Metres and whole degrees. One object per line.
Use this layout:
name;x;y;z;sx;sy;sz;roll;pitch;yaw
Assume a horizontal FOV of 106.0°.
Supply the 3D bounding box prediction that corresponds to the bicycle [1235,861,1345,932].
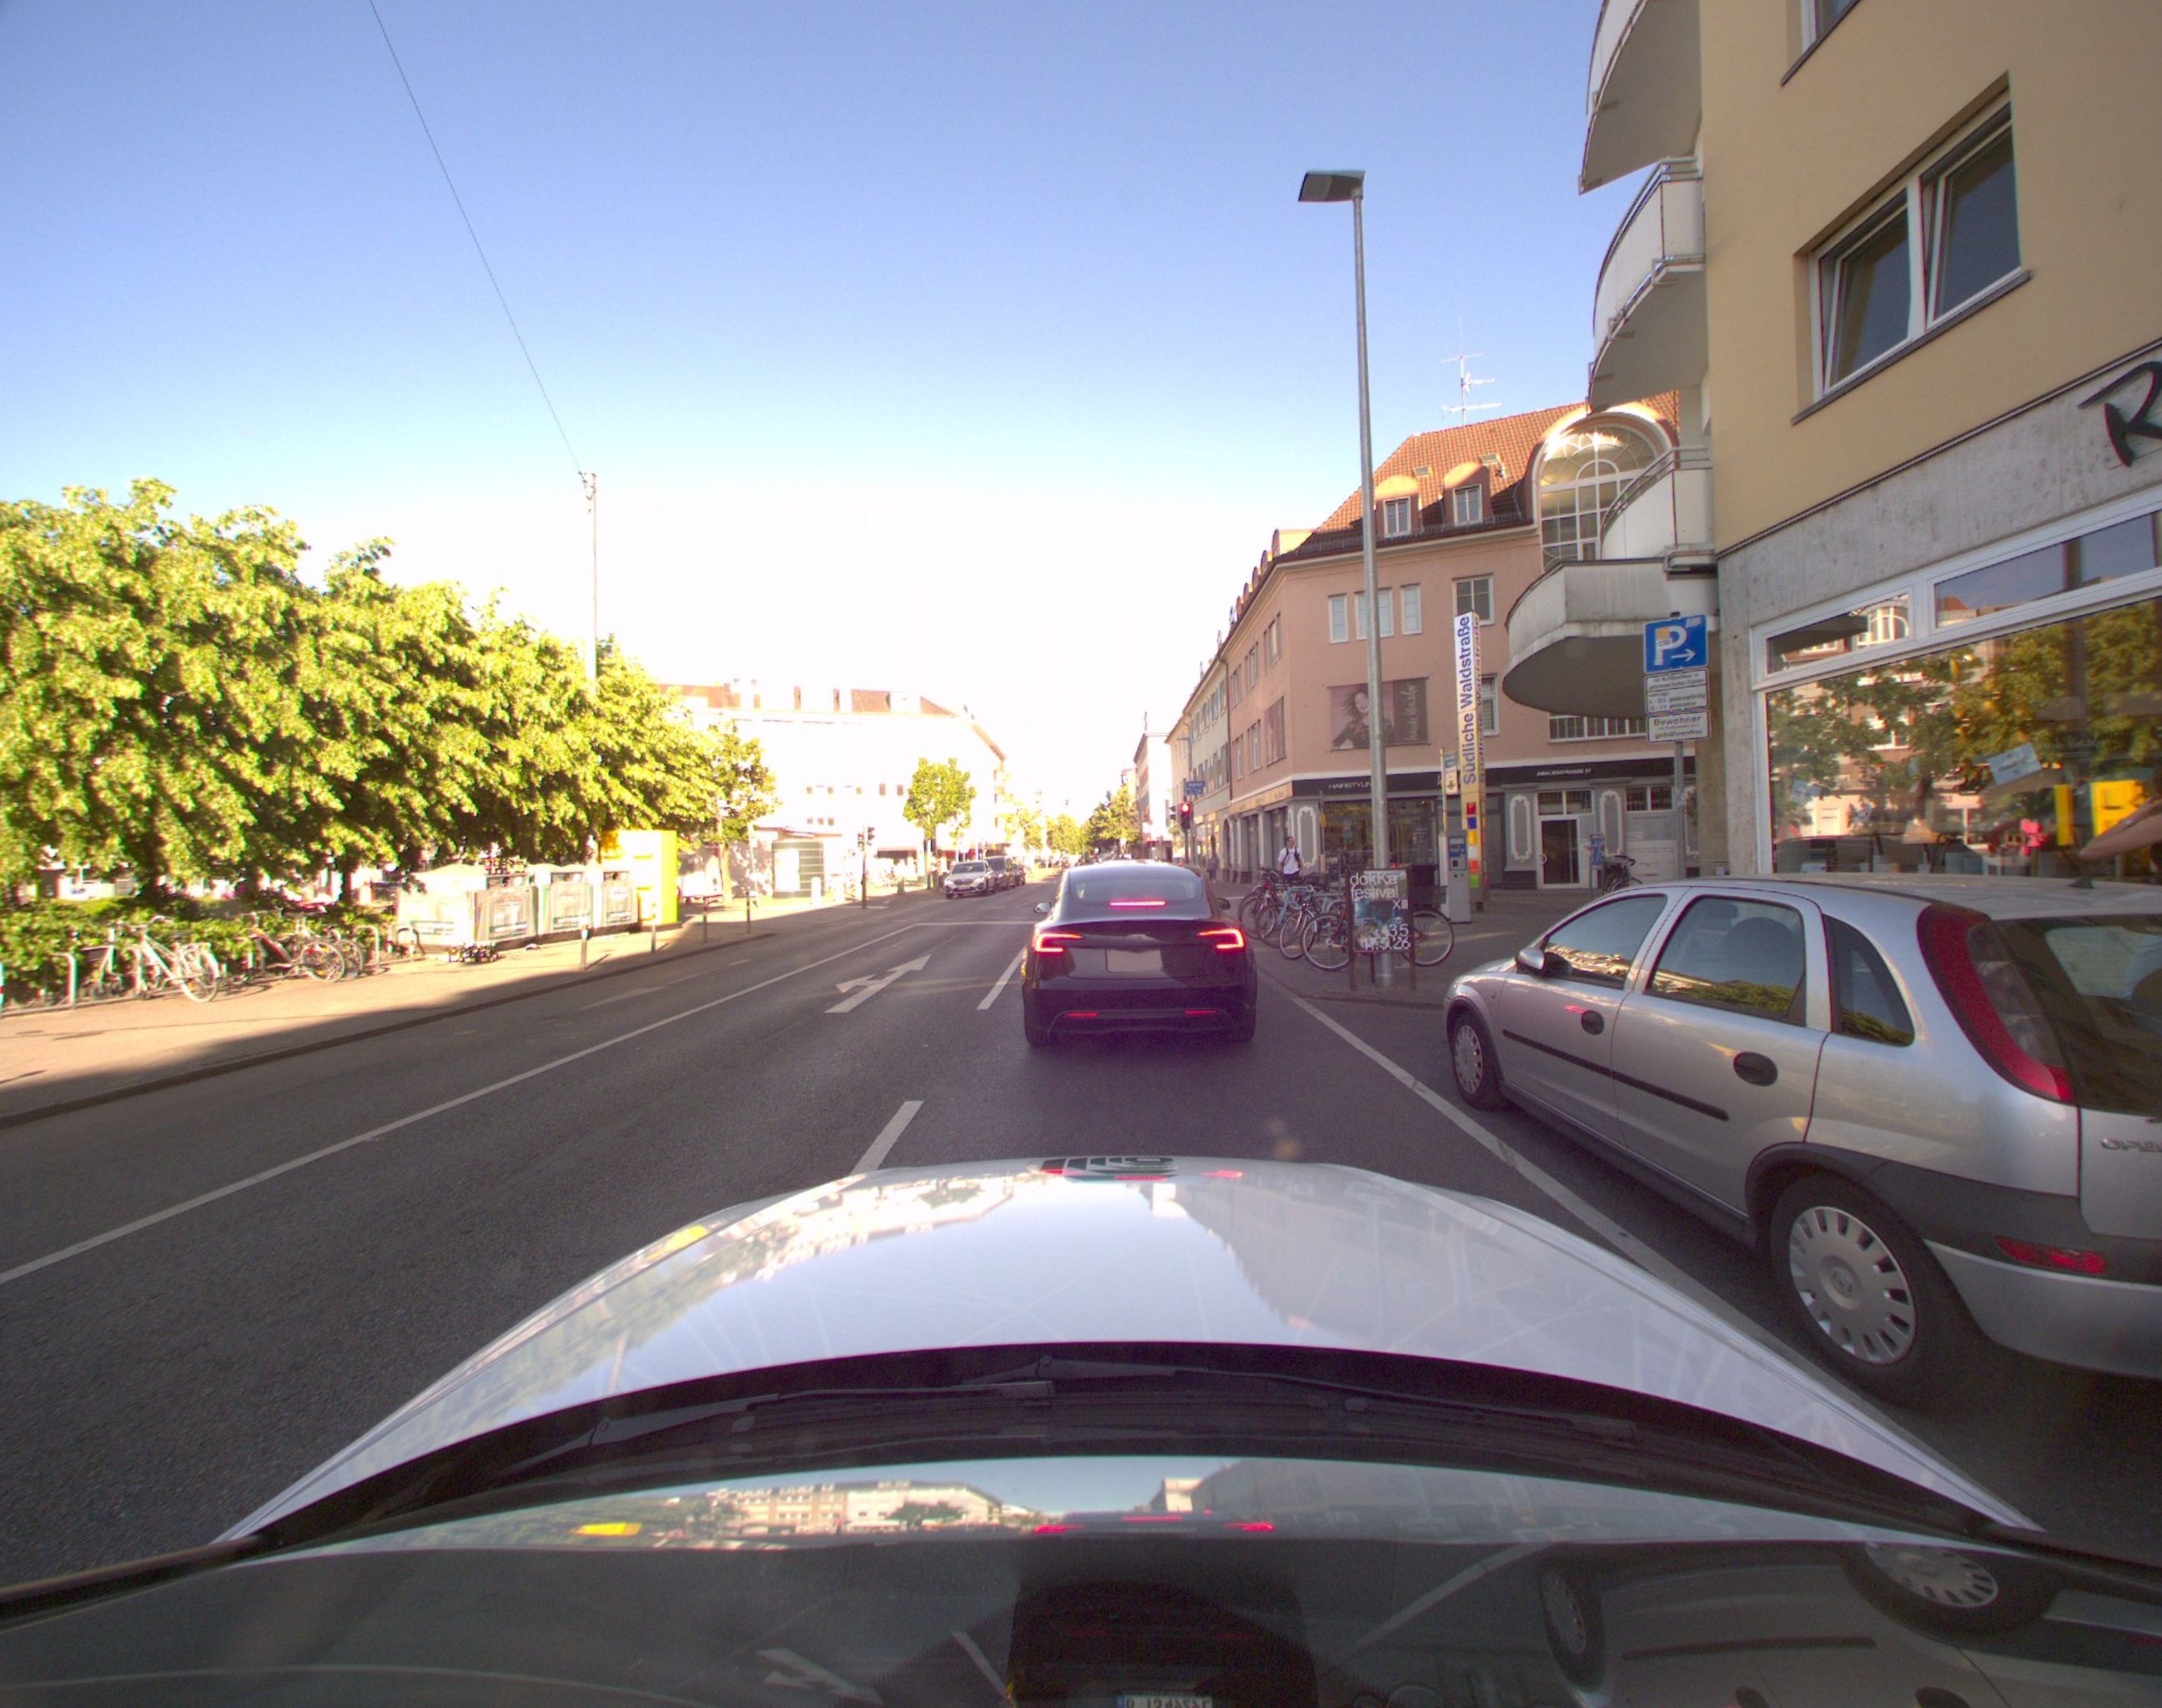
bicycle;3.774;0.760;14.800;1.818;1.169;0.507;-3;-1;7

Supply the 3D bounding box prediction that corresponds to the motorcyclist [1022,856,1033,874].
motorcyclist;-4.460;0.911;67.690;0.724;1.528;0.510;-1;0;-35

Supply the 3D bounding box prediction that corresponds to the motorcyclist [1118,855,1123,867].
motorcyclist;4.298;0.775;88.709;0.493;1.253;0.351;0;-1;-36

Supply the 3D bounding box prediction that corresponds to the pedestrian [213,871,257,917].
pedestrian;-37.847;1.771;36.430;1.145;2.013;1.040;-1;0;26

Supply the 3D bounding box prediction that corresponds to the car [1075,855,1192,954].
car;0.791;0.749;13.958;1.712;1.425;3.757;-1;0;0

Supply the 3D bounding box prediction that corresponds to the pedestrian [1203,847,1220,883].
pedestrian;6.399;0.537;39.961;0.704;1.742;0.540;-1;0;1

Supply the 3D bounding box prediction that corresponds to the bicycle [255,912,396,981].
bicycle;-11.325;1.371;12.212;1.888;0.955;0.518;-1;-1;11

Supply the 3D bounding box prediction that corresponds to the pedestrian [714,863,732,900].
pedestrian;-16.674;1.290;37.958;0.472;1.716;0.713;-1;-1;9

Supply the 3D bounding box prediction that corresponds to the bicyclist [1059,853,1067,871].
bicyclist;-1.542;0.678;70.368;0.525;1.503;0.473;0;-1;-22

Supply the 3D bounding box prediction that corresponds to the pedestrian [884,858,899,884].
pedestrian;-15.092;1.352;64.753;1.060;2.014;1.049;0;-1;-18

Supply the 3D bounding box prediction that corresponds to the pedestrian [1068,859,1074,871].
pedestrian;-1.117;1.234;92.876;0.524;1.422;0.475;0;-1;-28

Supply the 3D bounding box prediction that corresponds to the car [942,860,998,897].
car;-4.888;1.046;36.436;1.782;1.460;3.759;-4;-1;2

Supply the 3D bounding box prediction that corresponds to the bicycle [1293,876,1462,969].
bicycle;3.616;0.838;10.017;1.862;1.038;0.354;-3;-1;8

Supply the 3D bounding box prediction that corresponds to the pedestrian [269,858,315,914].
pedestrian;-29.471;1.186;30.426;0.890;2.013;0.893;-1;0;15

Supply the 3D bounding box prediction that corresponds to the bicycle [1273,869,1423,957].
bicycle;3.646;0.806;11.192;1.864;1.087;0.415;-3;-1;5

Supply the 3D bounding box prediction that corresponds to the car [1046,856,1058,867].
car;-4.255;1.039;118.840;1.703;1.552;3.692;-1;0;-4

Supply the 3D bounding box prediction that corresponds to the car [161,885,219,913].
car;-48.594;2.403;44.403;3.526;1.386;1.703;-1;0;36

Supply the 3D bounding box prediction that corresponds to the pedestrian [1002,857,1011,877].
pedestrian;-5.825;0.988;63.686;0.623;1.538;0.511;0;-1;-17

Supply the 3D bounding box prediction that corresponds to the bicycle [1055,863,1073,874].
bicycle;-1.471;1.248;70.443;1.562;1.012;0.480;0;-1;-22

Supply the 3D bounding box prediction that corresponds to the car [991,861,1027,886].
car;-4.391;1.176;50.096;1.709;1.446;3.846;0;-1;2

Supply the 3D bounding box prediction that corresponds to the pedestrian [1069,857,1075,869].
pedestrian;-1.041;1.002;92.084;0.524;1.422;0.475;0;-1;-28

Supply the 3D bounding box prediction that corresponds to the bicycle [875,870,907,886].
bicycle;-12.273;1.546;52.642;1.857;0.934;0.606;-1;0;0

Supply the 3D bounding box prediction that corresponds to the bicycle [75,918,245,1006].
bicycle;-11.627;1.339;10.288;1.919;1.015;0.518;-1;-1;12

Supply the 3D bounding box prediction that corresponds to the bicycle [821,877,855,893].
bicycle;-12.844;1.631;43.091;1.640;0.792;0.606;0;-1;-3

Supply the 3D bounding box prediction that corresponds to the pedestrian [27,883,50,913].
pedestrian;-77.636;3.238;60.658;0.891;2.171;0.882;-1;-1;26

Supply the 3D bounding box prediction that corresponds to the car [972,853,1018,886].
car;-4.440;0.771;42.772;1.780;1.646;4.404;-1;0;2

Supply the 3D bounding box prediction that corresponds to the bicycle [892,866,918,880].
bicycle;-16.996;1.815;78.605;2.373;1.296;0.509;0;-1;-25

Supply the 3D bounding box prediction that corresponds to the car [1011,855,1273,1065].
car;0.490;0.761;7.724;1.816;1.442;4.001;-1;-1;2

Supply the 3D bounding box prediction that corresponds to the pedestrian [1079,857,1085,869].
pedestrian;0.081;1.035;92.588;0.524;1.422;0.475;0;-1;-28

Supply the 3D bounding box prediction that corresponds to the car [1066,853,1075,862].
car;-2.389;0.877;187.499;1.986;2.013;4.002;-1;0;2

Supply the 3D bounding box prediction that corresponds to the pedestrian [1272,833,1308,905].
pedestrian;5.300;0.376;20.672;0.747;1.765;0.838;0;-1;6

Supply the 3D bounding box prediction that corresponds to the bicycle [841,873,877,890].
bicycle;-12.431;1.542;45.661;1.857;0.934;0.606;-1;-1;0

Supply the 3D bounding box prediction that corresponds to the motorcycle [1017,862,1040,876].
motorcycle;-4.365;1.276;67.748;1.941;1.110;0.513;-1;0;-35

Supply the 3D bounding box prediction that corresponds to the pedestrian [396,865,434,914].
pedestrian;-23.802;1.269;29.110;0.754;1.698;0.793;-1;0;25

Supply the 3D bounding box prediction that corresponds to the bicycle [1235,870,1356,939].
bicycle;3.577;0.841;13.683;1.863;1.038;0.548;-3;-1;7

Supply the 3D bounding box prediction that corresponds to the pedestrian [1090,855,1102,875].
pedestrian;1.277;0.879;67.520;0.756;1.631;0.951;0;-1;-16

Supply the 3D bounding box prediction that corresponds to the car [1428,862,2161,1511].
car;2.952;0.748;3.517;1.540;1.390;3.479;-1;-1;3

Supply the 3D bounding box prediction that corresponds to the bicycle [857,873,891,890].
bicycle;-12.139;1.613;47.810;1.857;0.934;0.606;0;-1;0

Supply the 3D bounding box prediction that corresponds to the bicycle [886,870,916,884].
bicycle;-12.194;1.565;55.090;1.857;0.934;0.606;-1;0;0

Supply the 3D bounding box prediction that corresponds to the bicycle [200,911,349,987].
bicycle;-11.527;1.344;11.644;1.913;1.003;0.518;-1;-1;11

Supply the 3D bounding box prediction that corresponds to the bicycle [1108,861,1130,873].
bicycle;3.281;1.152;70.062;1.787;1.007;0.469;0;-1;-15

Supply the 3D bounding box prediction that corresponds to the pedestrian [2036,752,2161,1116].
pedestrian;5.201;0.362;3.935;0.651;1.665;0.651;-1;-1;42

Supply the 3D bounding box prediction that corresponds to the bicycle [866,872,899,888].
bicycle;-12.264;1.590;50.289;1.857;0.934;0.606;0;-1;0

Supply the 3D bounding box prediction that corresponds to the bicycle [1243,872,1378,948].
bicycle;3.484;0.851;12.468;1.864;1.038;0.534;-3;-1;5

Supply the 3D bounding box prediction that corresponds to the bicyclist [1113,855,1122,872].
bicyclist;3.138;0.806;70.031;0.670;1.395;0.460;0;-1;-14
